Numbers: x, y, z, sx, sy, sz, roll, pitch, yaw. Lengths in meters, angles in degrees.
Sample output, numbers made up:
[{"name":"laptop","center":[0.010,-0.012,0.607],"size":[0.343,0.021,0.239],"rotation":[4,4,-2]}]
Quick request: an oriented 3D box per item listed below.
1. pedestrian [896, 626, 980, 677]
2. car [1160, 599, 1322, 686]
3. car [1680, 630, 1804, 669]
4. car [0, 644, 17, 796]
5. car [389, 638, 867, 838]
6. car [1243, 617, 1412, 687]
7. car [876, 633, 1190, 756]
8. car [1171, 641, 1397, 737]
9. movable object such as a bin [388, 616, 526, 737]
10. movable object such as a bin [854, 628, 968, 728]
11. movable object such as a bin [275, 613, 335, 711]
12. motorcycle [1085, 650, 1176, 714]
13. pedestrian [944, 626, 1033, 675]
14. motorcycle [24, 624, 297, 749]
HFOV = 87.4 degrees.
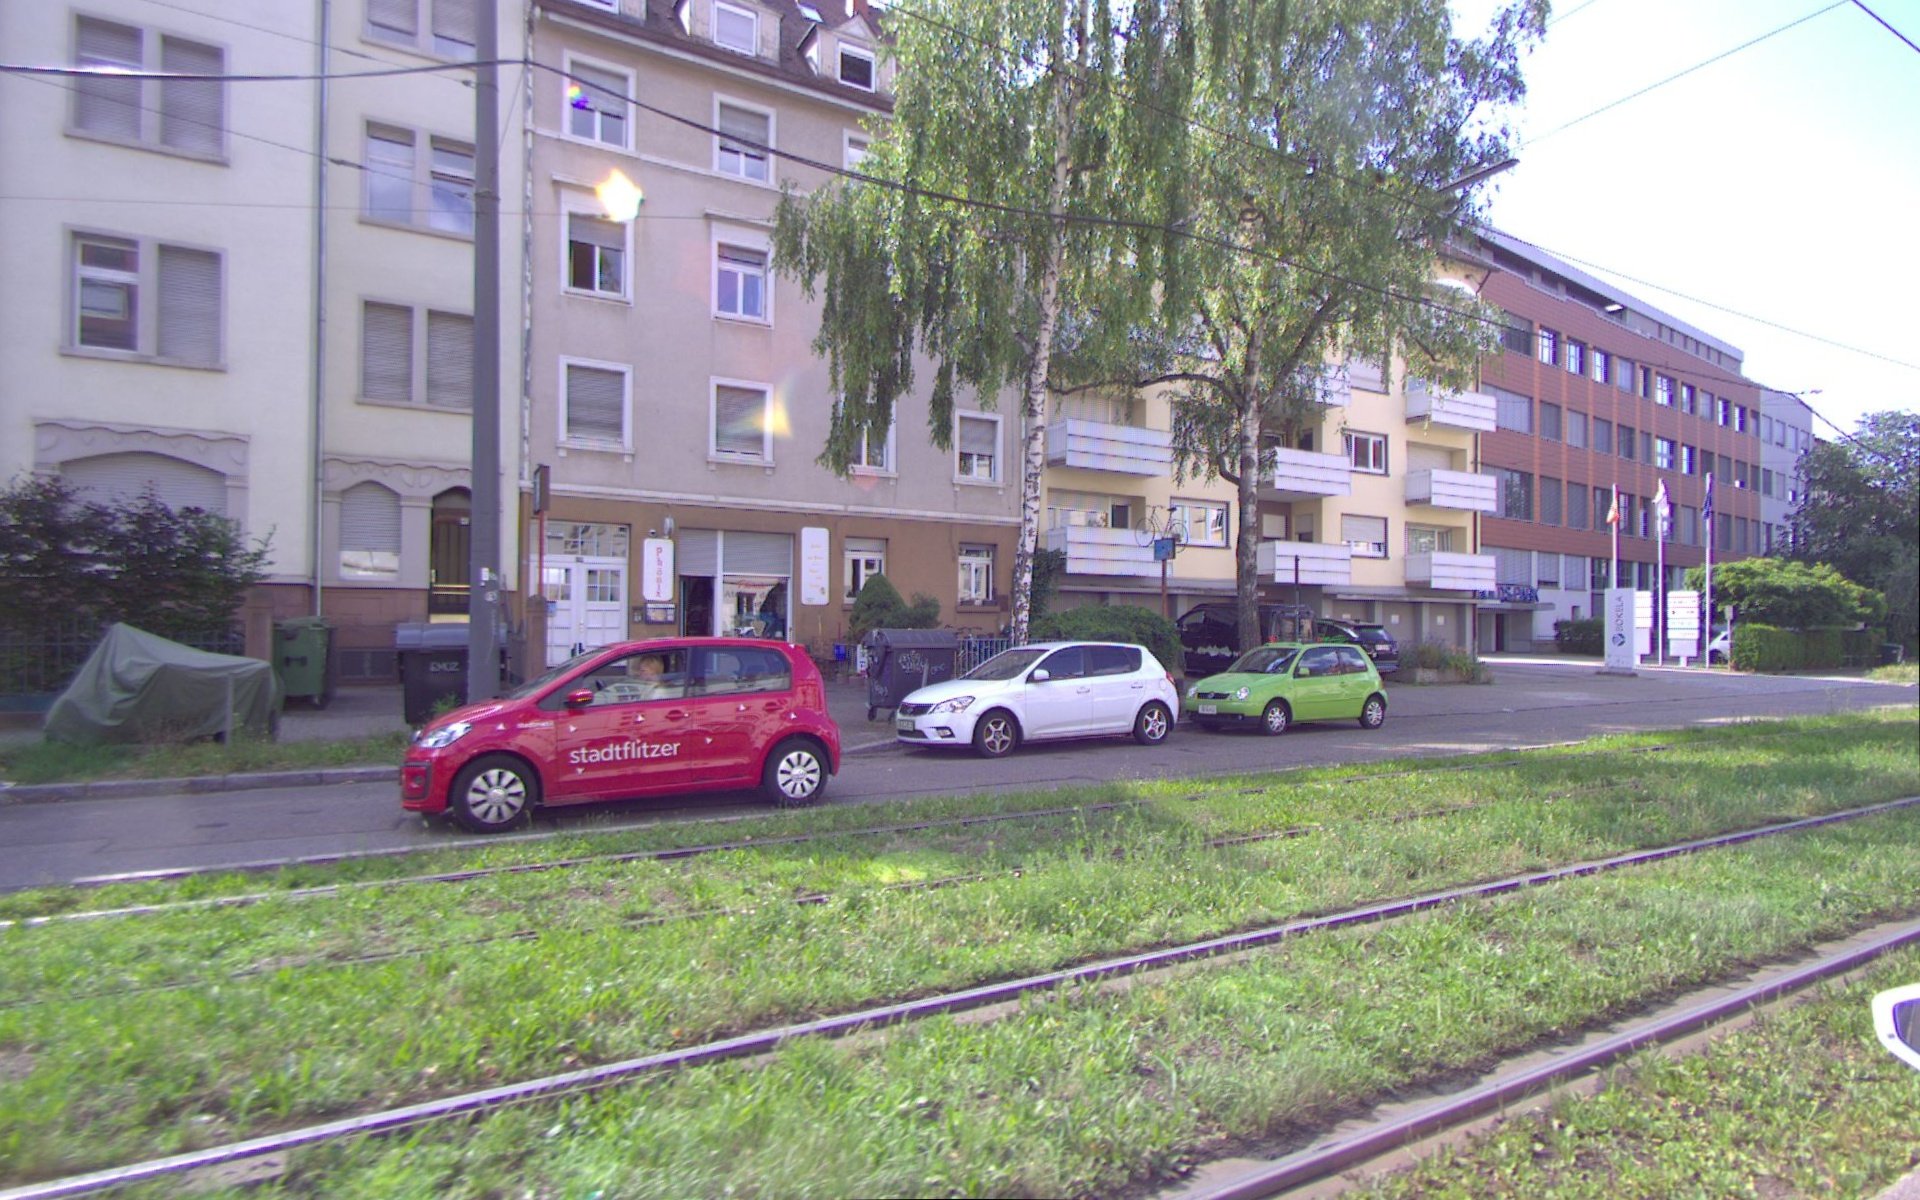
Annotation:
[{"name":"pedestrian","center":[-0.558,1.212,24.066],"size":[1.053,1.153,2.395],"rotation":[1,-2,-28]},{"name":"car","center":[7.194,1.031,26.120],"size":[1.911,2.040,3.974],"rotation":[1,0,-26]},{"name":"car","center":[34.900,2.185,44.941],"size":[1.978,1.617,3.965],"rotation":[2,-2,-32]},{"name":"car","center":[-10.129,1.019,7.627],"size":[3.945,1.374,1.748],"rotation":[2,-2,-28]},{"name":"car","center":[-2.790,1.038,8.665],"size":[3.648,1.405,1.572],"rotation":[1,-2,-29]},{"name":"car","center":[9.749,1.336,26.934],"size":[1.949,1.623,3.969],"rotation":[1,0,-29]},{"name":"car","center":[1.060,1.233,13.984],"size":[4.174,1.497,1.638],"rotation":[1,-3,-29]},{"name":"car","center":[5.422,1.415,16.737],"size":[3.570,1.451,1.587],"rotation":[1,-2,-29]},{"name":"movable object such as a bin","center":[-6.461,0.946,12.894],"size":[1.504,1.385,0.946],"rotation":[1,3,-30]},{"name":"movable object such as a bin","center":[-0.771,1.186,15.744],"size":[1.504,1.449,0.946],"rotation":[1,1,-30]},{"name":"movable object such as a bin","center":[-9.522,0.882,14.615],"size":[0.692,1.380,0.669],"rotation":[1,-1,-33]},{"name":"motorcycle","center":[3.053,1.458,17.926],"size":[1.613,1.056,0.497],"rotation":[3,1,-30]},{"name":"pedestrian","center":[0.656,1.206,24.729],"size":[1.116,1.144,2.502],"rotation":[1,-2,-28]},{"name":"motorcycle","center":[-8.754,0.908,11.163],"size":[2.272,1.259,0.894],"rotation":[1,-2,-36]}]
